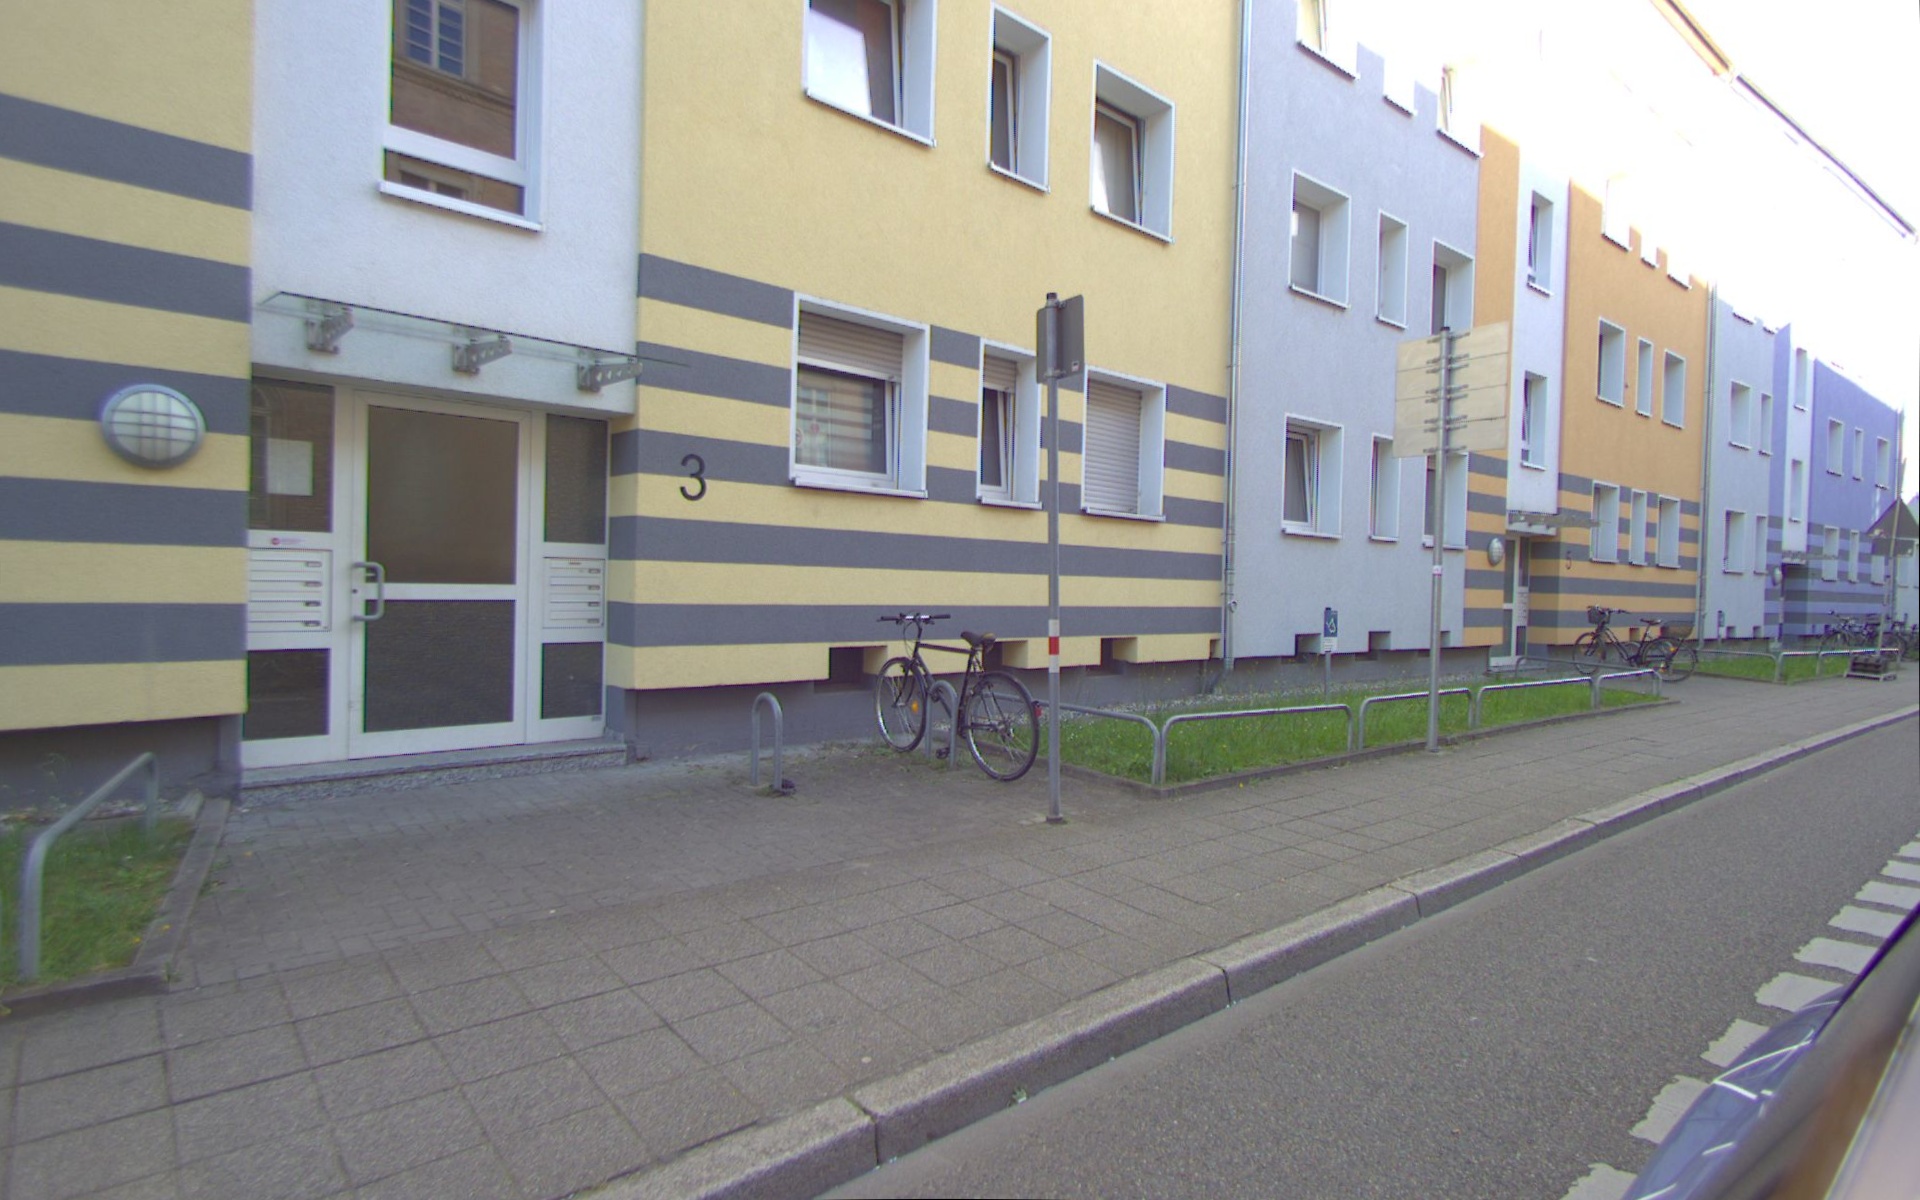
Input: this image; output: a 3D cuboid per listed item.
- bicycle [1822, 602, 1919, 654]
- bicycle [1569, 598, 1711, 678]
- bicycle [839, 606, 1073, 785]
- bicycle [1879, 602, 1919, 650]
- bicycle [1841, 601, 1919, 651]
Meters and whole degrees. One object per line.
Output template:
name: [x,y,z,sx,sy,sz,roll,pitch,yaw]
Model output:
bicycle: [22.218,0.668,24.721,0.475,1.166,1.678,1,1,-37]
bicycle: [10.679,0.567,15.937,1.775,1.137,0.476,3,1,44]
bicycle: [-0.082,0.591,7.008,1.775,1.031,0.476,3,1,44]
bicycle: [24.127,0.663,25.270,0.475,1.166,1.678,1,1,-37]
bicycle: [23.299,0.652,25.413,0.475,1.166,1.678,1,1,-37]
